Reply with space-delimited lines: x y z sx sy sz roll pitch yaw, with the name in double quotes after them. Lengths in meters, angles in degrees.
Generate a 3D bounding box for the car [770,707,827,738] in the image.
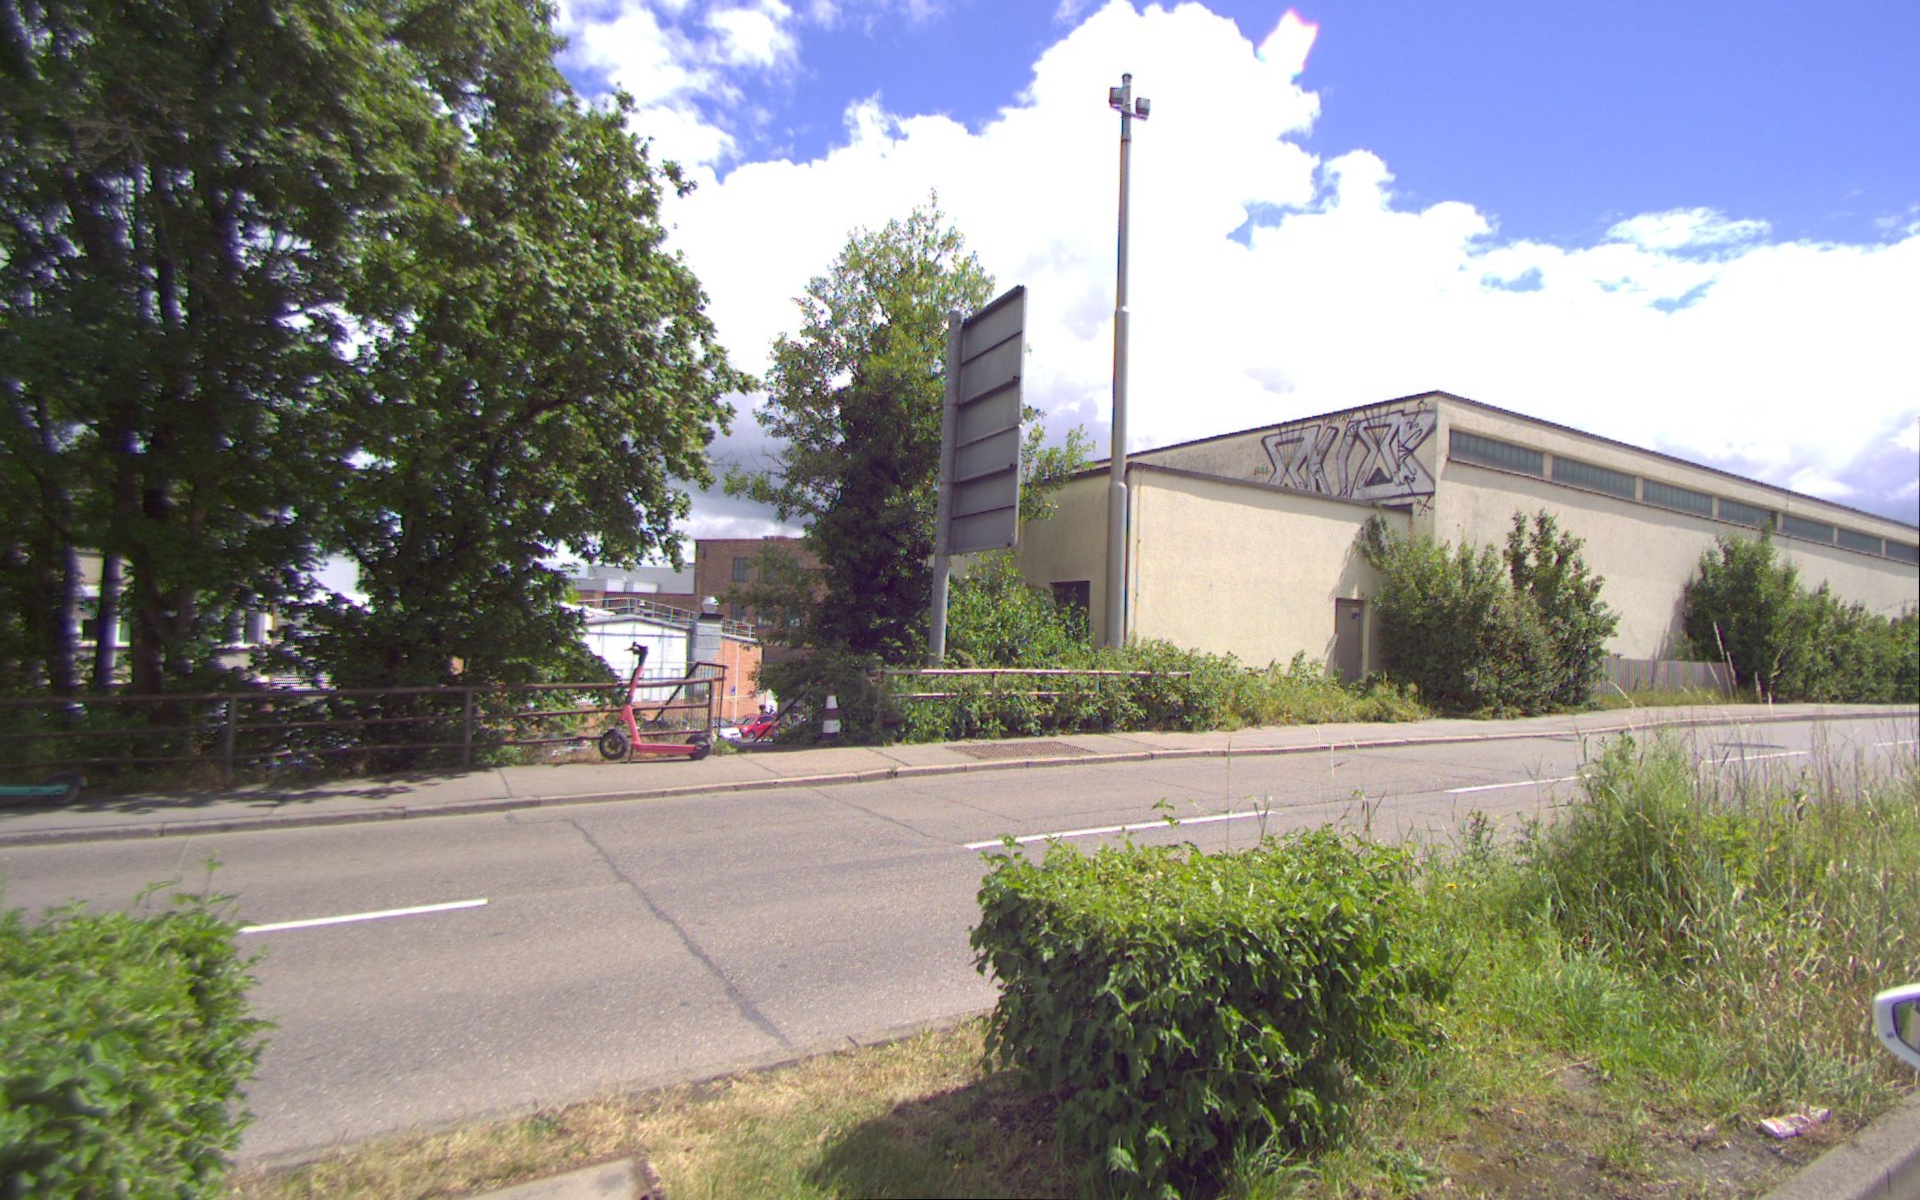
-10.155 7.764 63.392 1.726 1.759 4.003 -7 -9 20 "car"

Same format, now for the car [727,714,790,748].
-11.832 7.730 59.211 1.726 1.759 4.003 -7 -9 20 "car"

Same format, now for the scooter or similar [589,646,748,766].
-3.205 1.137 11.084 1.621 1.232 0.490 1 -2 -27 "scooter or similar"

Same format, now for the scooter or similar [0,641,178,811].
-7.500 1.010 8.240 1.621 1.322 0.489 1 0 -27 "scooter or similar"
